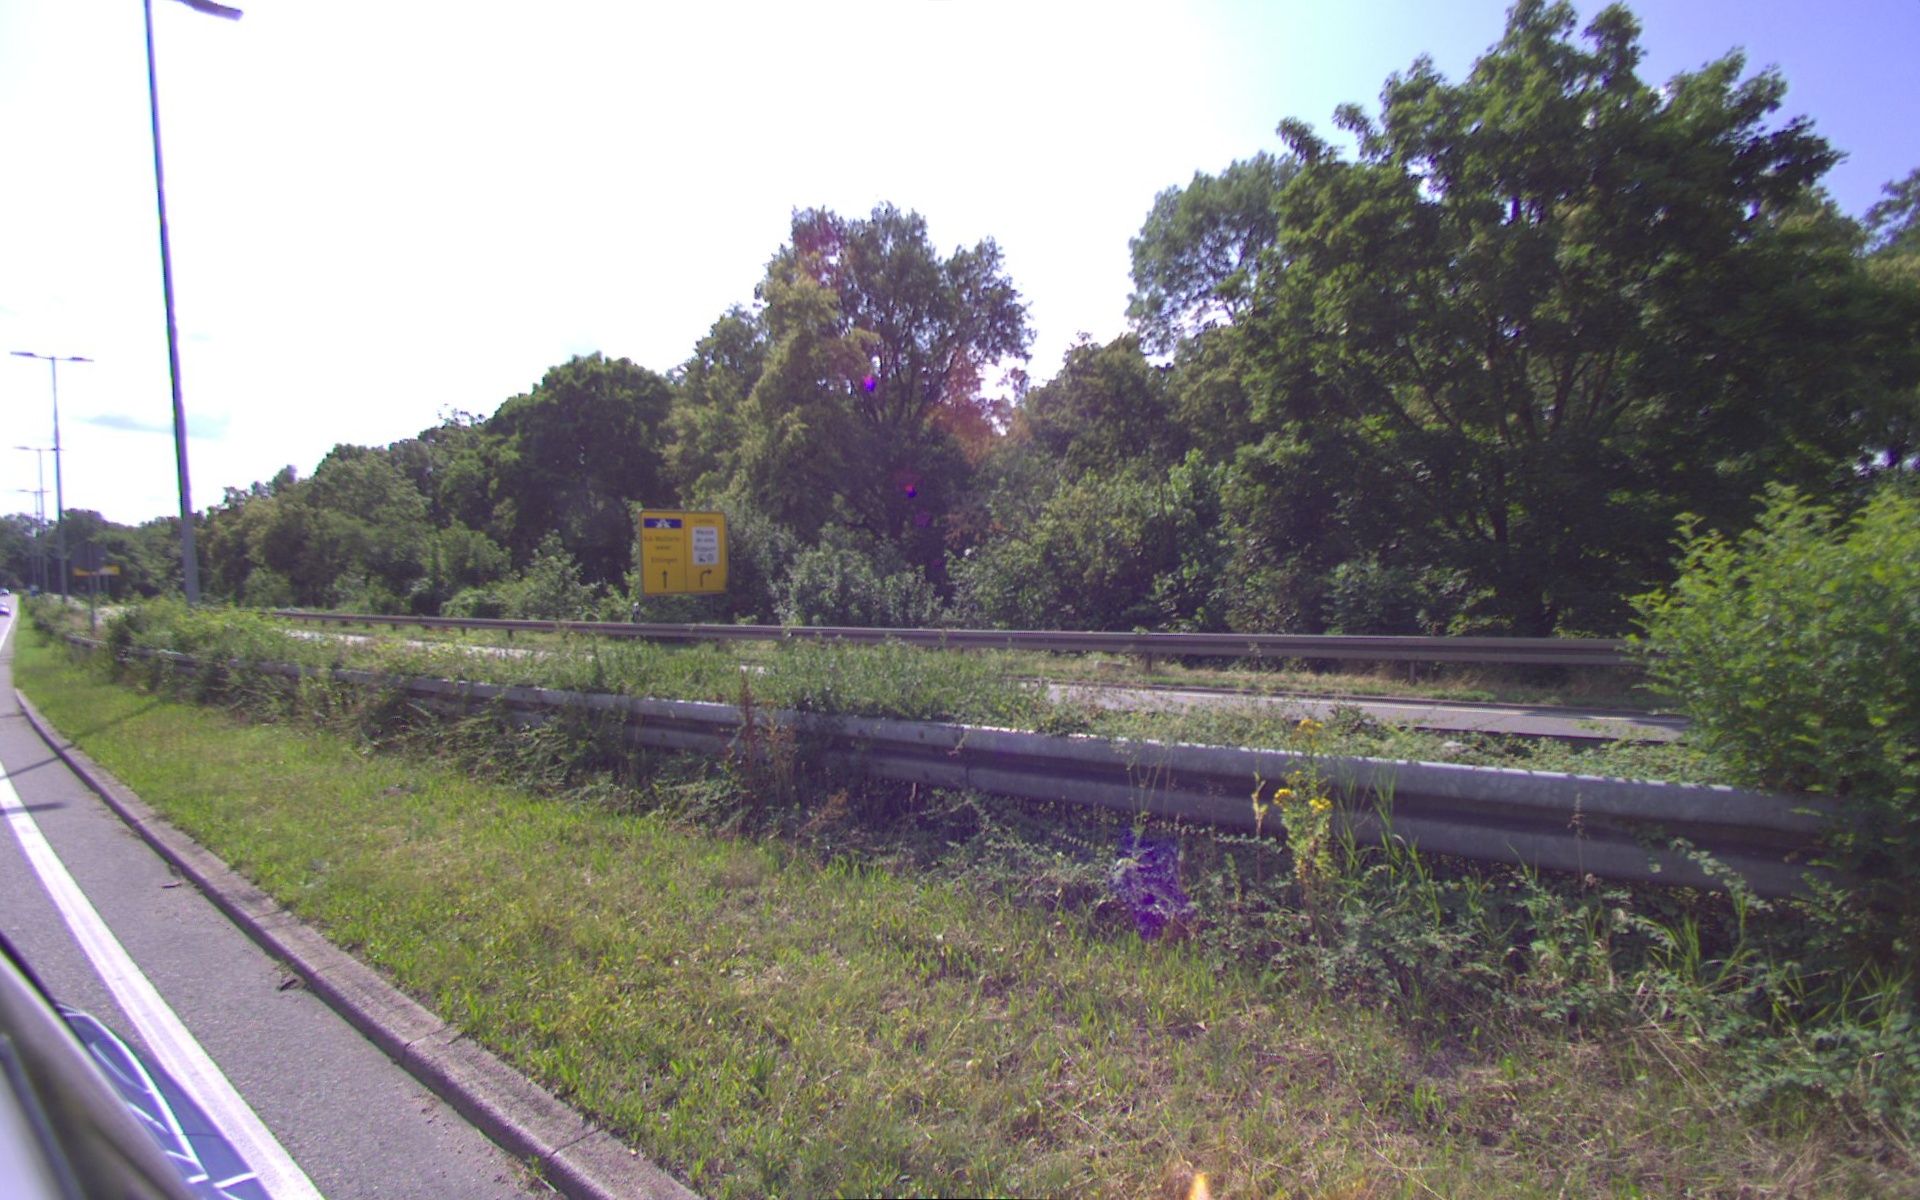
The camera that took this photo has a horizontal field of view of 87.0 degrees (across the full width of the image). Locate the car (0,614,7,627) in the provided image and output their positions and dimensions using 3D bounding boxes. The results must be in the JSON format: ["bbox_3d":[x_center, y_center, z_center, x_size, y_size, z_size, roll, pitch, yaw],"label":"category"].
[{"bbox_3d":[-99.382,2.152,104.206,1.771,1.386,4.004,-2,0,-42],"label":"car"}]
